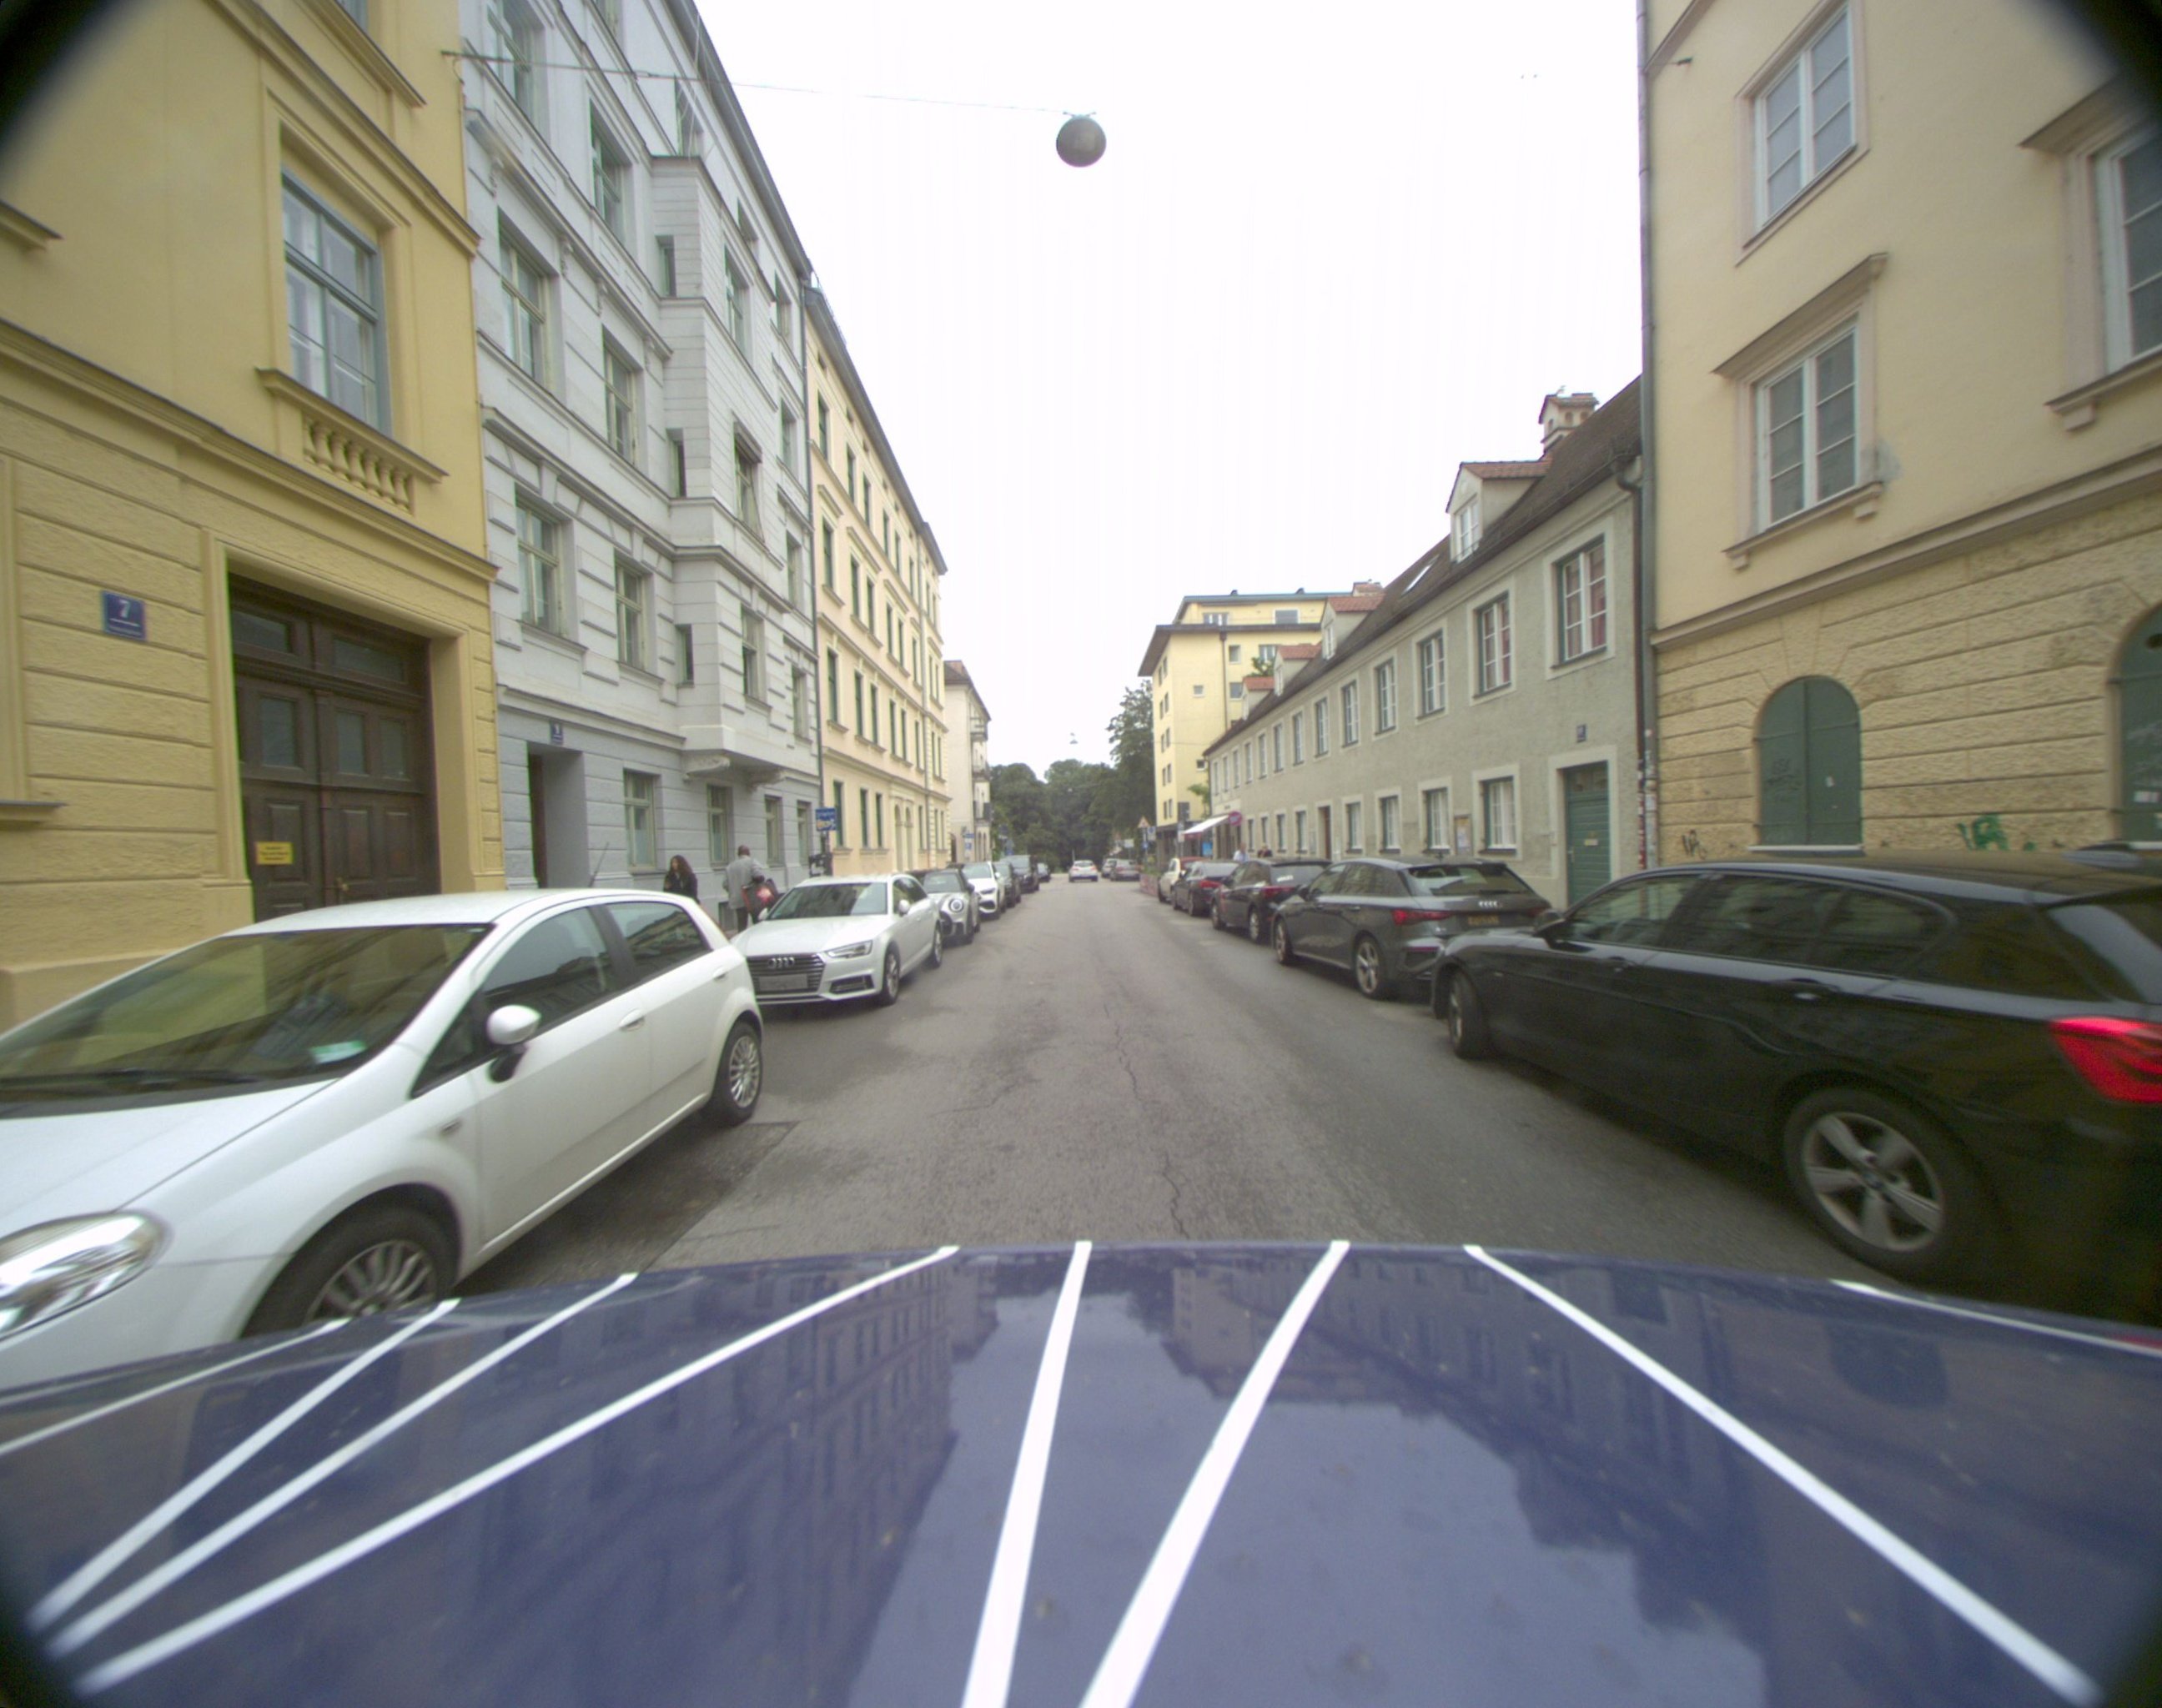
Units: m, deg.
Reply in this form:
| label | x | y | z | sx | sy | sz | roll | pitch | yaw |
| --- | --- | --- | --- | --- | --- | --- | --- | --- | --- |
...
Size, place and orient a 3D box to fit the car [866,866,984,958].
| label | x | y | z | sx | sy | sz | roll | pitch | yaw |
| --- | --- | --- | --- | --- | --- | --- | --- | --- | --- |
| car | -2.971 | 1.039 | 15.234 | 1.722 | 1.501 | 3.935 | -1 | 0 | -3 |

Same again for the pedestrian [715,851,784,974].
| label | x | y | z | sx | sy | sz | roll | pitch | yaw |
| --- | --- | --- | --- | --- | --- | --- | --- | --- | --- |
| pedestrian | -5.230 | 0.898 | 12.042 | 0.703 | 1.851 | 0.805 | -2 | 0 | -3 |

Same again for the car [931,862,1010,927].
| label | x | y | z | sx | sy | sz | roll | pitch | yaw |
| --- | --- | --- | --- | --- | --- | --- | --- | --- | --- |
| car | -3.038 | 1.056 | 21.633 | 1.721 | 1.592 | 4.322 | -1 | 0 | -2 |

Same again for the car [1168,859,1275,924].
| label | x | y | z | sx | sy | sz | roll | pitch | yaw |
| --- | --- | --- | --- | --- | --- | --- | --- | --- | --- |
| car | 3.508 | 0.883 | 19.744 | 1.862 | 1.393 | 4.269 | -2 | 0 | -1 |

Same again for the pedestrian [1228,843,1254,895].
| label | x | y | z | sx | sy | sz | roll | pitch | yaw |
| --- | --- | --- | --- | --- | --- | --- | --- | --- | --- |
| pedestrian | 5.000 | 0.473 | 23.722 | 0.614 | 1.589 | 0.662 | -1 | 0 | -4 |

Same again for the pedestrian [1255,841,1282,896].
| label | x | y | z | sx | sy | sz | roll | pitch | yaw |
| --- | --- | --- | --- | --- | --- | --- | --- | --- | --- |
| pedestrian | 5.880 | 0.452 | 23.826 | 0.582 | 1.688 | 0.806 | -1 | 0 | -4 |

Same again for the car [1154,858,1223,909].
| label | x | y | z | sx | sy | sz | roll | pitch | yaw |
| --- | --- | --- | --- | --- | --- | --- | --- | --- | --- |
| car | 3.482 | 0.909 | 25.179 | 1.573 | 1.505 | 3.422 | -2 | 0 | -4 |

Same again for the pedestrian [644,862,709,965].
| label | x | y | z | sx | sy | sz | roll | pitch | yaw |
| --- | --- | --- | --- | --- | --- | --- | --- | --- | --- |
| pedestrian | -6.419 | 0.925 | 12.074 | 0.646 | 1.565 | 0.625 | 1 | 0 | 4 |

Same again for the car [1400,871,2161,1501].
| label | x | y | z | sx | sy | sz | roll | pitch | yaw |
| --- | --- | --- | --- | --- | --- | --- | --- | --- | --- |
| car | 3.490 | 0.863 | 3.756 | 1.862 | 1.393 | 4.268 | -2 | 0 | -2 |

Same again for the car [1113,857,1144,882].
| label | x | y | z | sx | sy | sz | roll | pitch | yaw |
| --- | --- | --- | --- | --- | --- | --- | --- | --- | --- |
| car | 3.130 | 0.989 | 50.250 | 1.711 | 1.490 | 3.999 | -1 | 0 | -1 |

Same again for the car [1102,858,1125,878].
| label | x | y | z | sx | sy | sz | roll | pitch | yaw |
| --- | --- | --- | --- | --- | --- | --- | --- | --- | --- |
| car | 2.698 | 1.155 | 64.232 | 1.711 | 1.550 | 3.999 | -1 | 0 | -1 |

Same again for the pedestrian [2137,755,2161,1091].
| label | x | y | z | sx | sy | sz | roll | pitch | yaw |
| --- | --- | --- | --- | --- | --- | --- | --- | --- | --- |
| pedestrian | 6.820 | 0.403 | 4.237 | 0.807 | 2.002 | 0.750 | -1 | 0 | 1 |

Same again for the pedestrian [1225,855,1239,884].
| label | x | y | z | sx | sy | sz | roll | pitch | yaw |
| --- | --- | --- | --- | --- | --- | --- | --- | --- | --- |
| pedestrian | 6.752 | 0.685 | 33.944 | 0.523 | 1.258 | 0.548 | -3 | -2 | 14 |

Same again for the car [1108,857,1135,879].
| label | x | y | z | sx | sy | sz | roll | pitch | yaw |
| --- | --- | --- | --- | --- | --- | --- | --- | --- | --- |
| car | 2.932 | 1.018 | 55.739 | 1.711 | 1.490 | 3.999 | -1 | 0 | -1 |

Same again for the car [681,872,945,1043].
| label | x | y | z | sx | sy | sz | roll | pitch | yaw |
| --- | --- | --- | --- | --- | --- | --- | --- | --- | --- |
| car | -2.952 | 1.040 | 9.495 | 1.721 | 1.501 | 4.468 | -1 | 0 | -1 |

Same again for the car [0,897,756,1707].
| label | x | y | z | sx | sy | sz | roll | pitch | yaw |
| --- | --- | --- | --- | --- | --- | --- | --- | --- | --- |
| car | -2.847 | 1.040 | 2.907 | 1.627 | 1.501 | 3.761 | -1 | 0 | -1 |

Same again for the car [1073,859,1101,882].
| label | x | y | z | sx | sy | sz | roll | pitch | yaw |
| --- | --- | --- | --- | --- | --- | --- | --- | --- | --- |
| car | 0.351 | 1.060 | 50.031 | 1.793 | 1.409 | 3.904 | 0 | 0 | -1 |

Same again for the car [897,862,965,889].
| label | x | y | z | sx | sy | sz | roll | pitch | yaw |
| --- | --- | --- | --- | --- | --- | --- | --- | --- | --- |
| car | -9.489 | 1.360 | 48.219 | 3.998 | 1.556 | 1.712 | -1 | 0 | -3 |

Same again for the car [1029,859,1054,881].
| label | x | y | z | sx | sy | sz | roll | pitch | yaw |
| --- | --- | --- | --- | --- | --- | --- | --- | --- | --- |
| car | -2.876 | 1.155 | 55.886 | 1.711 | 1.490 | 3.999 | -1 | 0 | -1 |

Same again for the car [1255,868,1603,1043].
| label | x | y | z | sx | sy | sz | roll | pitch | yaw |
| --- | --- | --- | --- | --- | --- | --- | --- | --- | --- |
| car | 3.576 | 0.930 | 8.845 | 1.862 | 1.393 | 4.268 | -2 | 0 | -4 |

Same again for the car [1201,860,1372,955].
| label | x | y | z | sx | sy | sz | roll | pitch | yaw |
| --- | --- | --- | --- | --- | --- | --- | --- | --- | --- |
| car | 3.575 | 0.865 | 14.106 | 1.862 | 1.393 | 4.268 | -2 | 0 | -2 |

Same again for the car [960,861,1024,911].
| label | x | y | z | sx | sy | sz | roll | pitch | yaw |
| --- | --- | --- | --- | --- | --- | --- | --- | --- | --- |
| car | -3.025 | 1.053 | 26.586 | 1.721 | 1.557 | 4.142 | -1 | 0 | 0 |

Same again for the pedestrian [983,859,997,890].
| label | x | y | z | sx | sy | sz | roll | pitch | yaw |
| --- | --- | --- | --- | --- | --- | --- | --- | --- | --- |
| pedestrian | -5.381 | 1.209 | 45.076 | 0.698 | 1.792 | 0.730 | -1 | 0 | -1 |

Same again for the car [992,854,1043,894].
| label | x | y | z | sx | sy | sz | roll | pitch | yaw |
| --- | --- | --- | --- | --- | --- | --- | --- | --- | --- |
| car | -3.110 | 0.935 | 38.013 | 1.998 | 1.850 | 5.114 | -1 | 0 | 1 |

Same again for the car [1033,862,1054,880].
| label | x | y | z | sx | sy | sz | roll | pitch | yaw |
| --- | --- | --- | --- | --- | --- | --- | --- | --- | --- |
| car | -3.341 | 1.501 | 67.757 | 1.711 | 1.490 | 3.999 | -1 | 0 | -1 |
